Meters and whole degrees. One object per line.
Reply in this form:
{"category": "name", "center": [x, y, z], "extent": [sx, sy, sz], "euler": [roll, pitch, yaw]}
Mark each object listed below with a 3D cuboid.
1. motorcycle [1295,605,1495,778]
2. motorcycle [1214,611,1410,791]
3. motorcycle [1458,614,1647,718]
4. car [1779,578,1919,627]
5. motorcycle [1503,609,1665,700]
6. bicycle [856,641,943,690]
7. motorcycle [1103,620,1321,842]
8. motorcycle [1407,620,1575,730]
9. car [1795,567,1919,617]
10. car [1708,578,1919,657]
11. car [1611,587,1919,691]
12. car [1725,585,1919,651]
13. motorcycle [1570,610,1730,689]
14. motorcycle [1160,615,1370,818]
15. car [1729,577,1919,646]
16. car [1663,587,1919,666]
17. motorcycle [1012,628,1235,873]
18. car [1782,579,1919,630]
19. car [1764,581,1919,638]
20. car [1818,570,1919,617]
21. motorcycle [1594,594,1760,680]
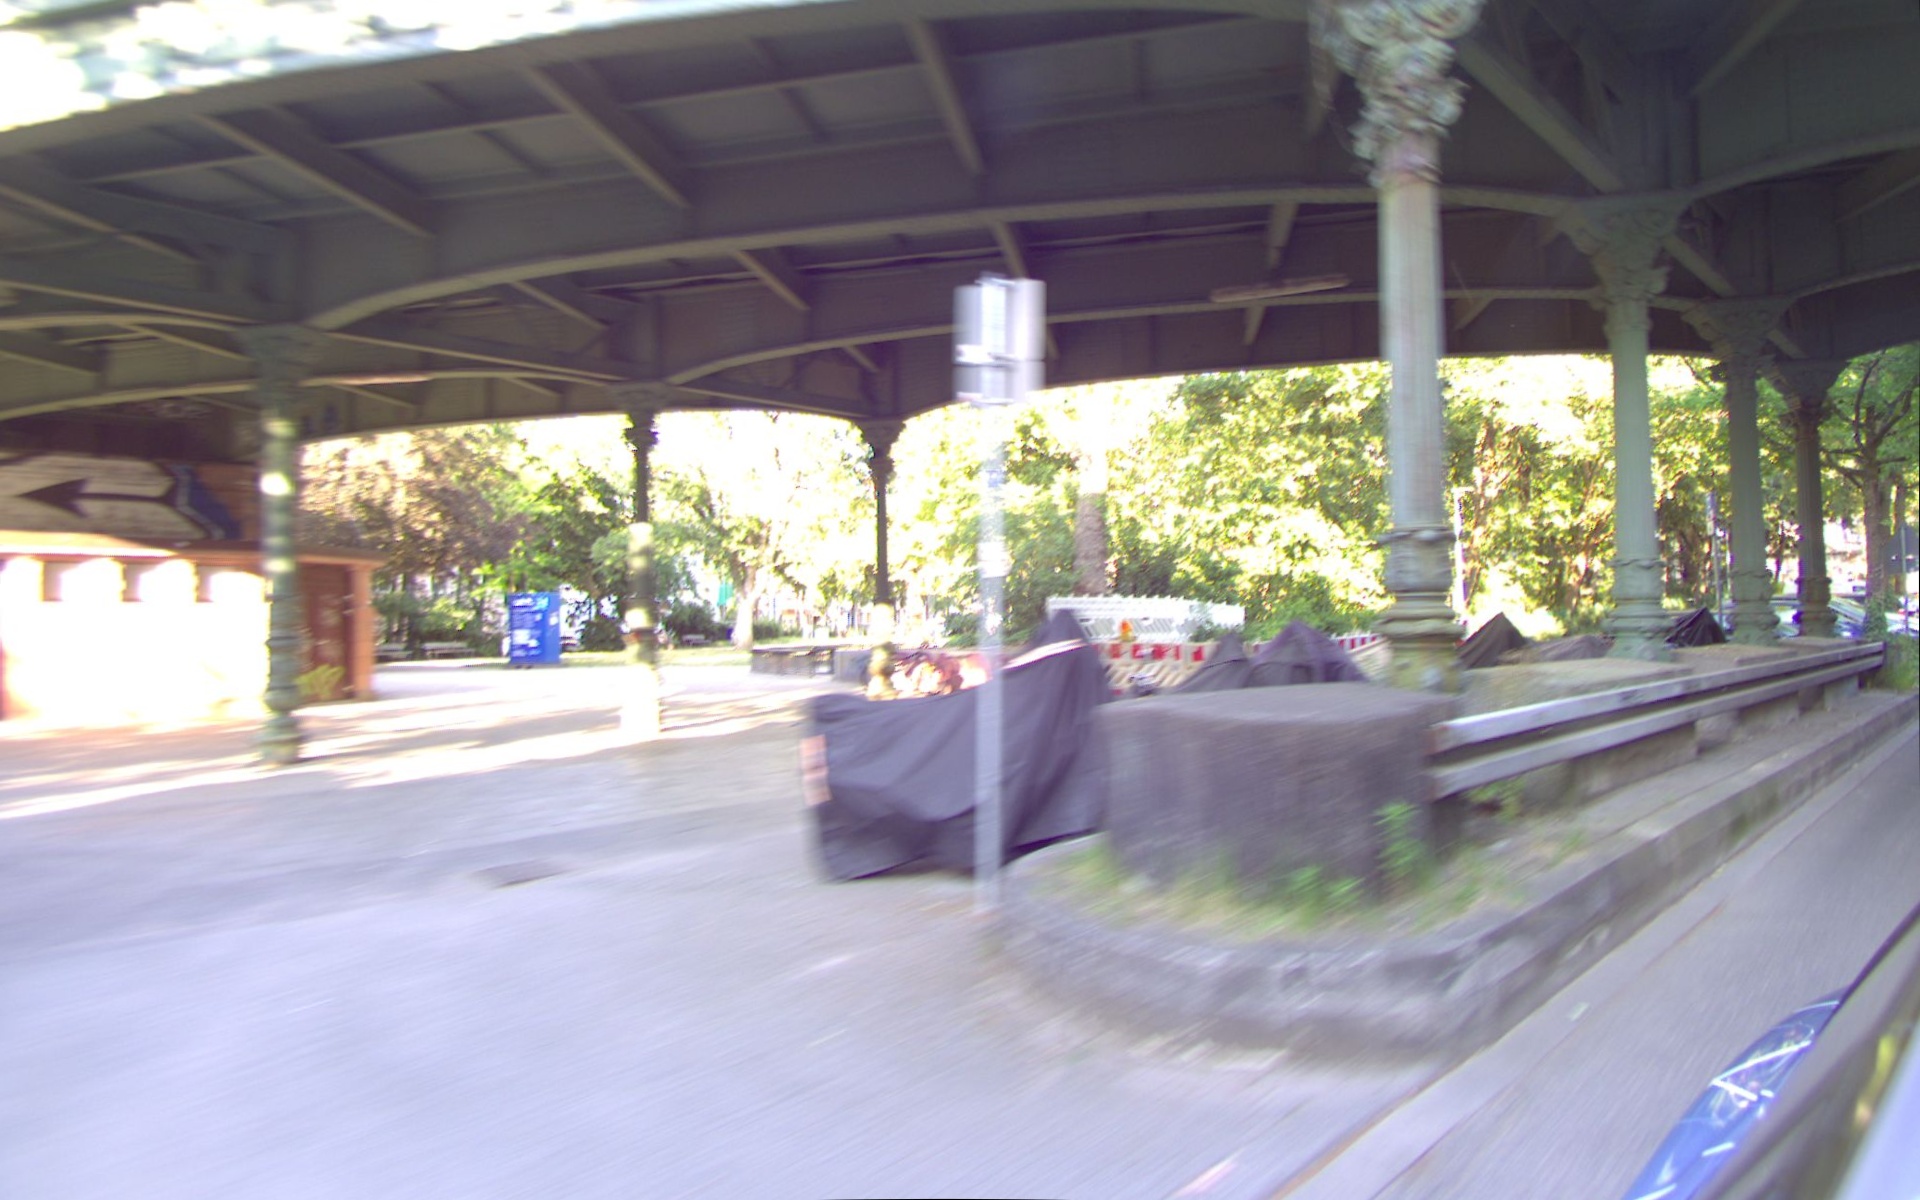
{"category": "motorcycle", "center": [3.981, 0.799, 9.404], "extent": [0.698, 1.426, 1.608], "euler": [-2, -1, -22]}
{"category": "motorcycle", "center": [3.090, 0.844, 9.060], "extent": [0.698, 1.426, 1.608], "euler": [-2, -1, -22]}
{"category": "motorcycle", "center": [7.101, 0.804, 12.250], "extent": [1.817, 1.147, 0.843], "euler": [-4, -1, 25]}
{"category": "car", "center": [33.182, 0.105, 37.600], "extent": [1.637, 1.594, 3.993], "euler": [-2, -1, -40]}
{"category": "motorcycle", "center": [8.606, 0.744, 14.033], "extent": [1.700, 1.147, 0.709], "euler": [-3, -1, 14]}
{"category": "bicycle", "center": [-1.161, 1.247, 19.414], "extent": [1.593, 0.869, 0.521], "euler": [1, 0, 17]}
{"category": "motorcycle", "center": [1.818, 0.894, 7.577], "extent": [0.698, 1.426, 1.608], "euler": [-2, -1, -22]}
{"category": "motorcycle", "center": [6.045, 0.853, 11.541], "extent": [1.592, 1.147, 0.704], "euler": [-4, -1, 32]}
{"category": "car", "center": [36.718, -0.342, 40.708], "extent": [1.842, 1.949, 4.675], "euler": [-2, 2, -44]}
{"category": "car", "center": [21.353, 0.457, 24.978], "extent": [4.372, 1.730, 1.877], "euler": [-4, -1, 44]}
{"category": "car", "center": [14.361, 0.703, 17.973], "extent": [1.647, 1.597, 4.376], "euler": [-2, -1, -44]}
{"category": "car", "center": [23.118, 0.488, 26.708], "extent": [1.846, 1.552, 4.376], "euler": [-2, -1, -44]}
{"category": "motorcycle", "center": [10.092, 0.724, 14.874], "extent": [1.700, 1.043, 0.809], "euler": [-3, -1, 14]}
{"category": "motorcycle", "center": [2.405, 0.870, 8.202], "extent": [0.698, 1.426, 1.608], "euler": [-2, -1, -22]}
{"category": "car", "center": [24.789, 0.338, 28.614], "extent": [1.876, 1.717, 4.534], "euler": [-2, -1, -44]}
{"category": "car", "center": [19.236, 0.596, 23.390], "extent": [1.703, 1.626, 4.596], "euler": [-2, 0, -38]}
{"category": "motorcycle", "center": [1.053, 0.929, 6.940], "extent": [0.698, 1.426, 1.608], "euler": [-2, -1, -22]}
{"category": "car", "center": [31.732, 0.160, 35.740], "extent": [1.561, 1.594, 3.988], "euler": [-2, -1, -44]}
{"category": "car", "center": [28.215, 0.306, 32.099], "extent": [1.561, 1.594, 4.022], "euler": [-2, -1, -44]}
{"category": "car", "center": [38.707, -0.293, 42.306], "extent": [1.766, 1.780, 3.995], "euler": [-2, -1, -38]}
{"category": "motorcycle", "center": [11.287, 0.586, 16.029], "extent": [1.914, 1.254, 0.898], "euler": [-4, -1, 23]}
